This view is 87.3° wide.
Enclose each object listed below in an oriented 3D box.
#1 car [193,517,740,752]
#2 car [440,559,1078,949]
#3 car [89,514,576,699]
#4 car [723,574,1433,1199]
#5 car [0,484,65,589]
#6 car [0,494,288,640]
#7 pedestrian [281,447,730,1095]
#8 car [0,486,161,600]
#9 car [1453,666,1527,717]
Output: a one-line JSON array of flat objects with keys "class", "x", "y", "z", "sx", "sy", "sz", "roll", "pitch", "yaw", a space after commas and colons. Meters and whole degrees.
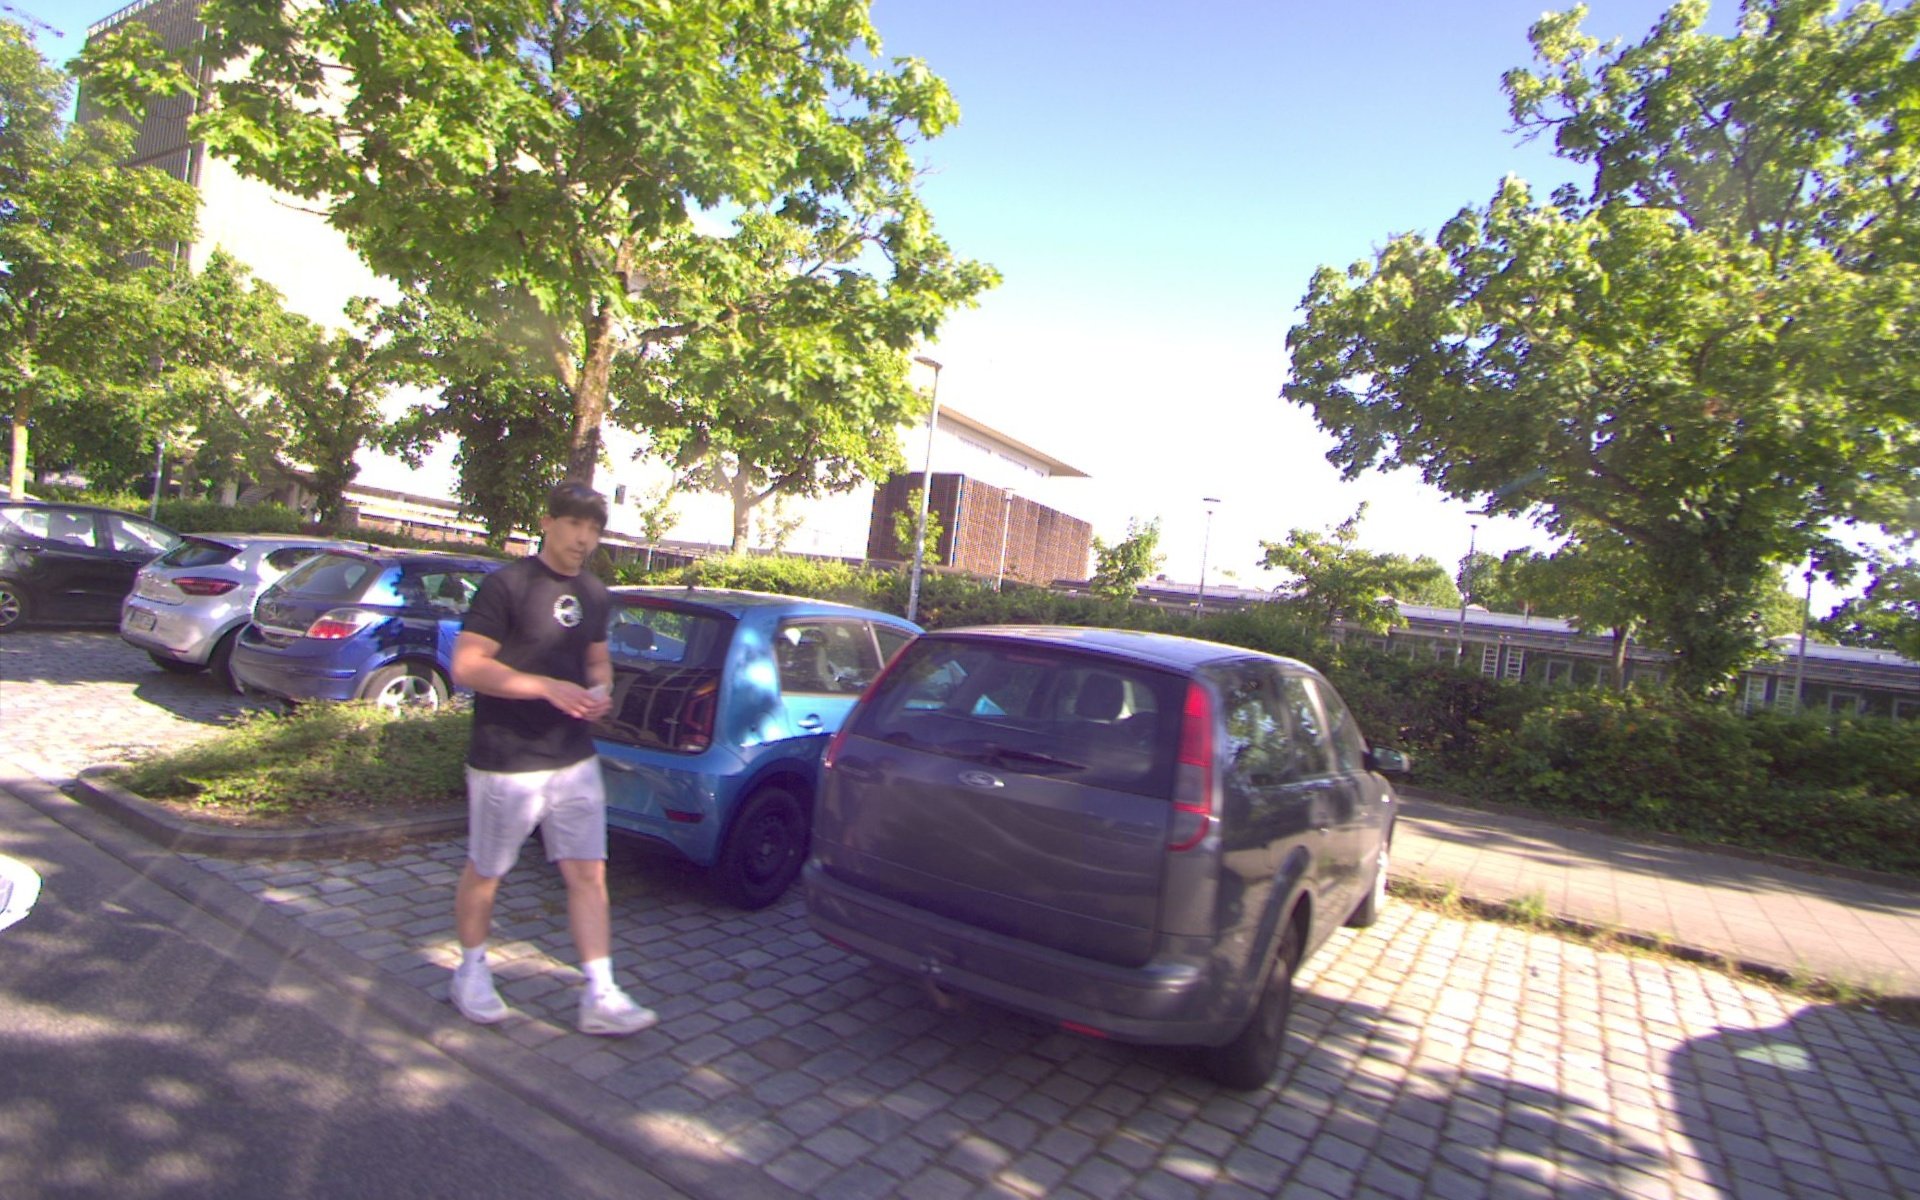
[{"class": "car", "x": -4.100, "y": 0.353, "z": 8.976, "sx": 1.812, "sy": 1.516, "sz": 3.898, "roll": 7, "pitch": -1, "yaw": 33}, {"class": "car", "x": -0.855, "y": 0.783, "z": 6.298, "sx": 1.594, "sy": 1.485, "sz": 3.906, "roll": 8, "pitch": 0, "yaw": 30}, {"class": "car", "x": -6.181, "y": 0.161, "z": 10.313, "sx": 1.812, "sy": 1.433, "sz": 3.736, "roll": 7, "pitch": -1, "yaw": 33}, {"class": "car", "x": 1.046, "y": 0.911, "z": 4.802, "sx": 1.707, "sy": 1.538, "sz": 4.192, "roll": 7, "pitch": 0, "yaw": 30}, {"class": "car", "x": -18.043, "y": -1.324, "z": 16.961, "sx": 1.907, "sy": 1.716, "sz": 3.906, "roll": 8, "pitch": 0, "yaw": 30}, {"class": "car", "x": -10.559, "y": -0.393, "z": 12.275, "sx": 1.717, "sy": 1.507, "sz": 3.457, "roll": 6, "pitch": -1, "yaw": 30}, {"class": "pedestrian", "x": -1.534, "y": 0.455, "z": 3.390, "sx": 1.149, "sy": 1.794, "sz": 0.719, "roll": 6, "pitch": 1, "yaw": 31}, {"class": "car", "x": -15.782, "y": -1.047, "z": 16.005, "sx": 1.879, "sy": 1.627, "sz": 4.329, "roll": 7, "pitch": -1, "yaw": 28}, {"class": "car", "x": 21.539, "y": 3.745, "z": 40.808, "sx": 1.872, "sy": 1.704, "sz": 4.214, "roll": 8, "pitch": 0, "yaw": 36}]
